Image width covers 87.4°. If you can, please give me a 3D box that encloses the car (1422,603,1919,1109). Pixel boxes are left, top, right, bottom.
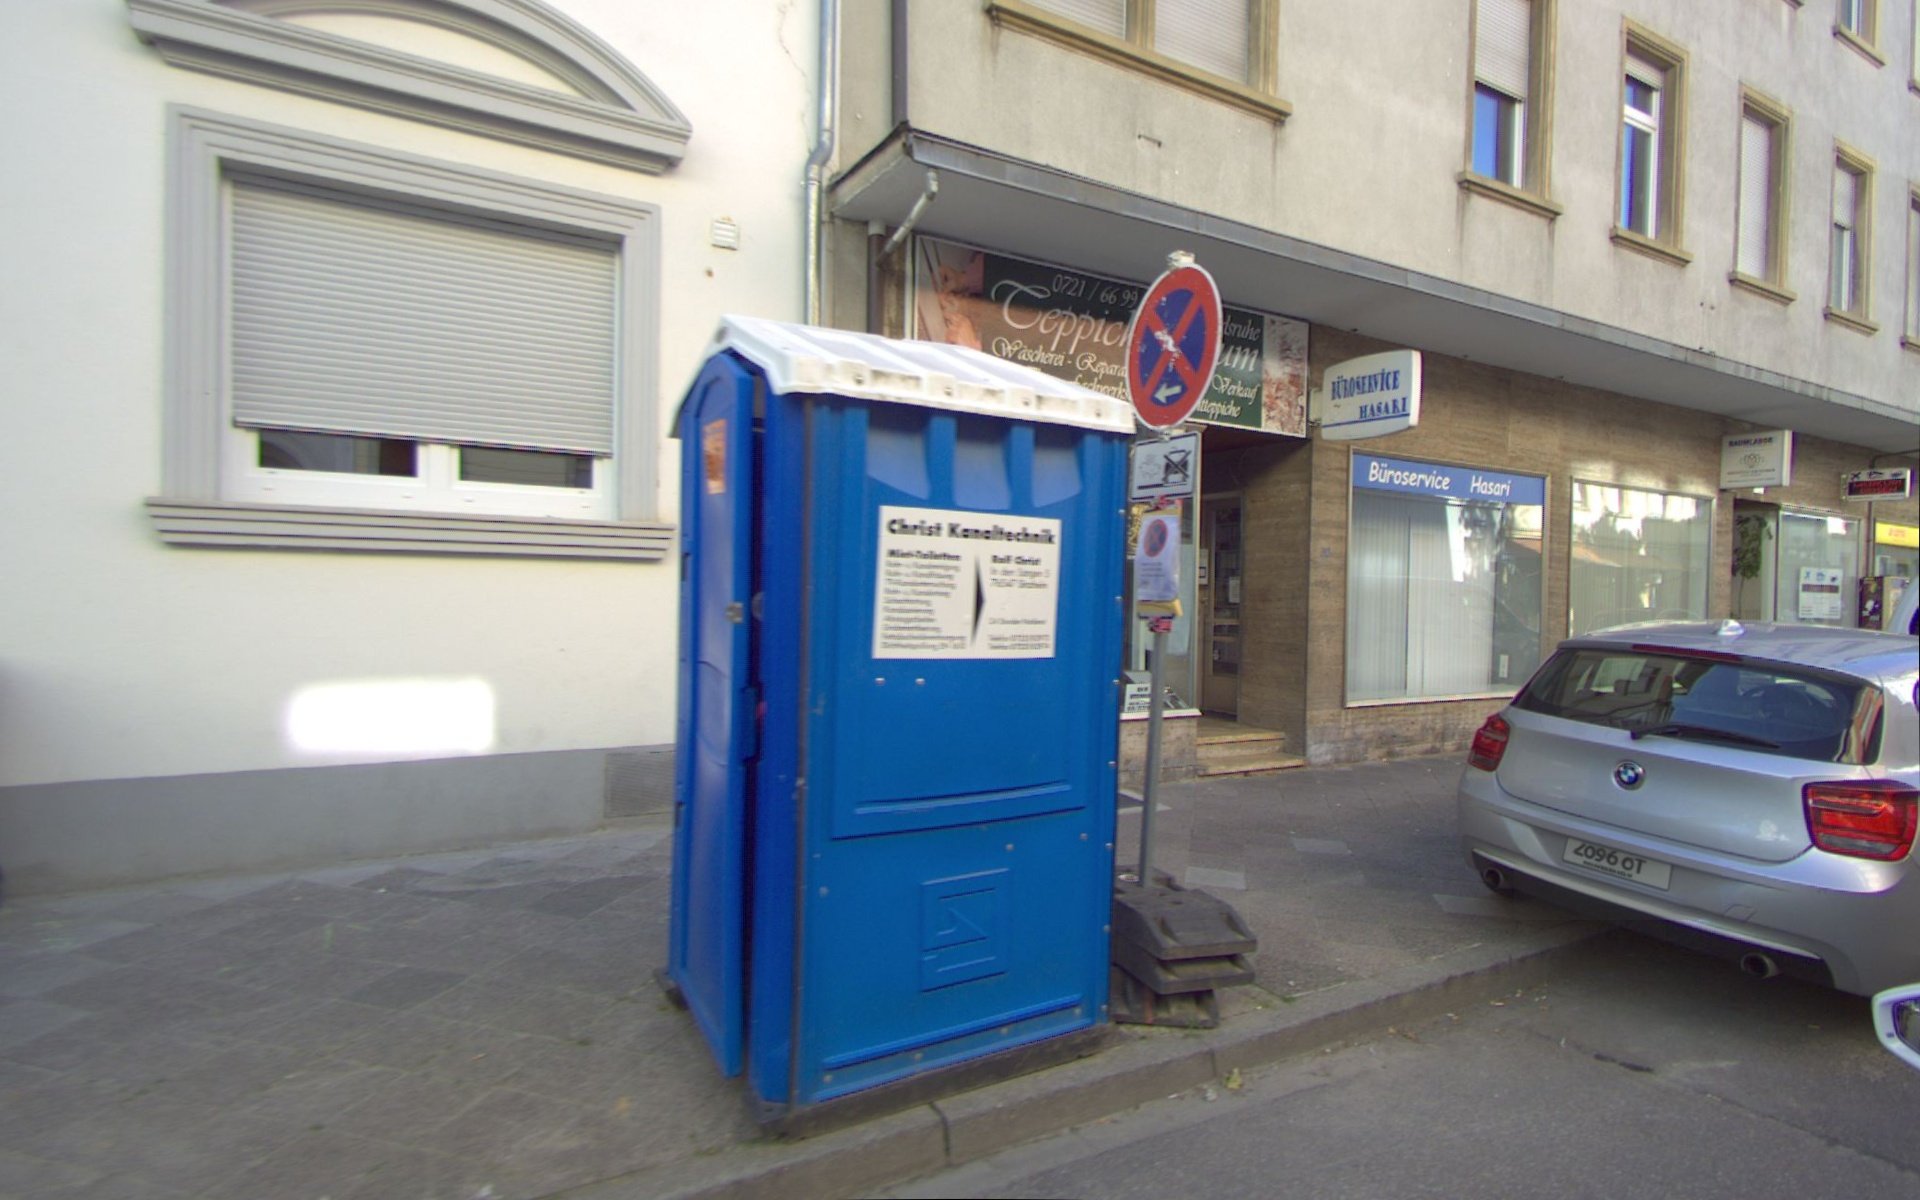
[{"bbox_3d":[4.384,0.816,4.957,4.438,1.543,1.656,1,-1,-32],"label":"car"}]

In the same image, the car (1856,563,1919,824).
[{"bbox_3d":[9.356,0.703,8.214,4.755,1.924,1.757,1,-1,-32],"label":"car"}]

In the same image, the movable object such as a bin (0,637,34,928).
[{"bbox_3d":[-3.953,0.693,3.676,0.689,1.086,0.780,2,0,-34],"label":"movable object such as a bin"}]
